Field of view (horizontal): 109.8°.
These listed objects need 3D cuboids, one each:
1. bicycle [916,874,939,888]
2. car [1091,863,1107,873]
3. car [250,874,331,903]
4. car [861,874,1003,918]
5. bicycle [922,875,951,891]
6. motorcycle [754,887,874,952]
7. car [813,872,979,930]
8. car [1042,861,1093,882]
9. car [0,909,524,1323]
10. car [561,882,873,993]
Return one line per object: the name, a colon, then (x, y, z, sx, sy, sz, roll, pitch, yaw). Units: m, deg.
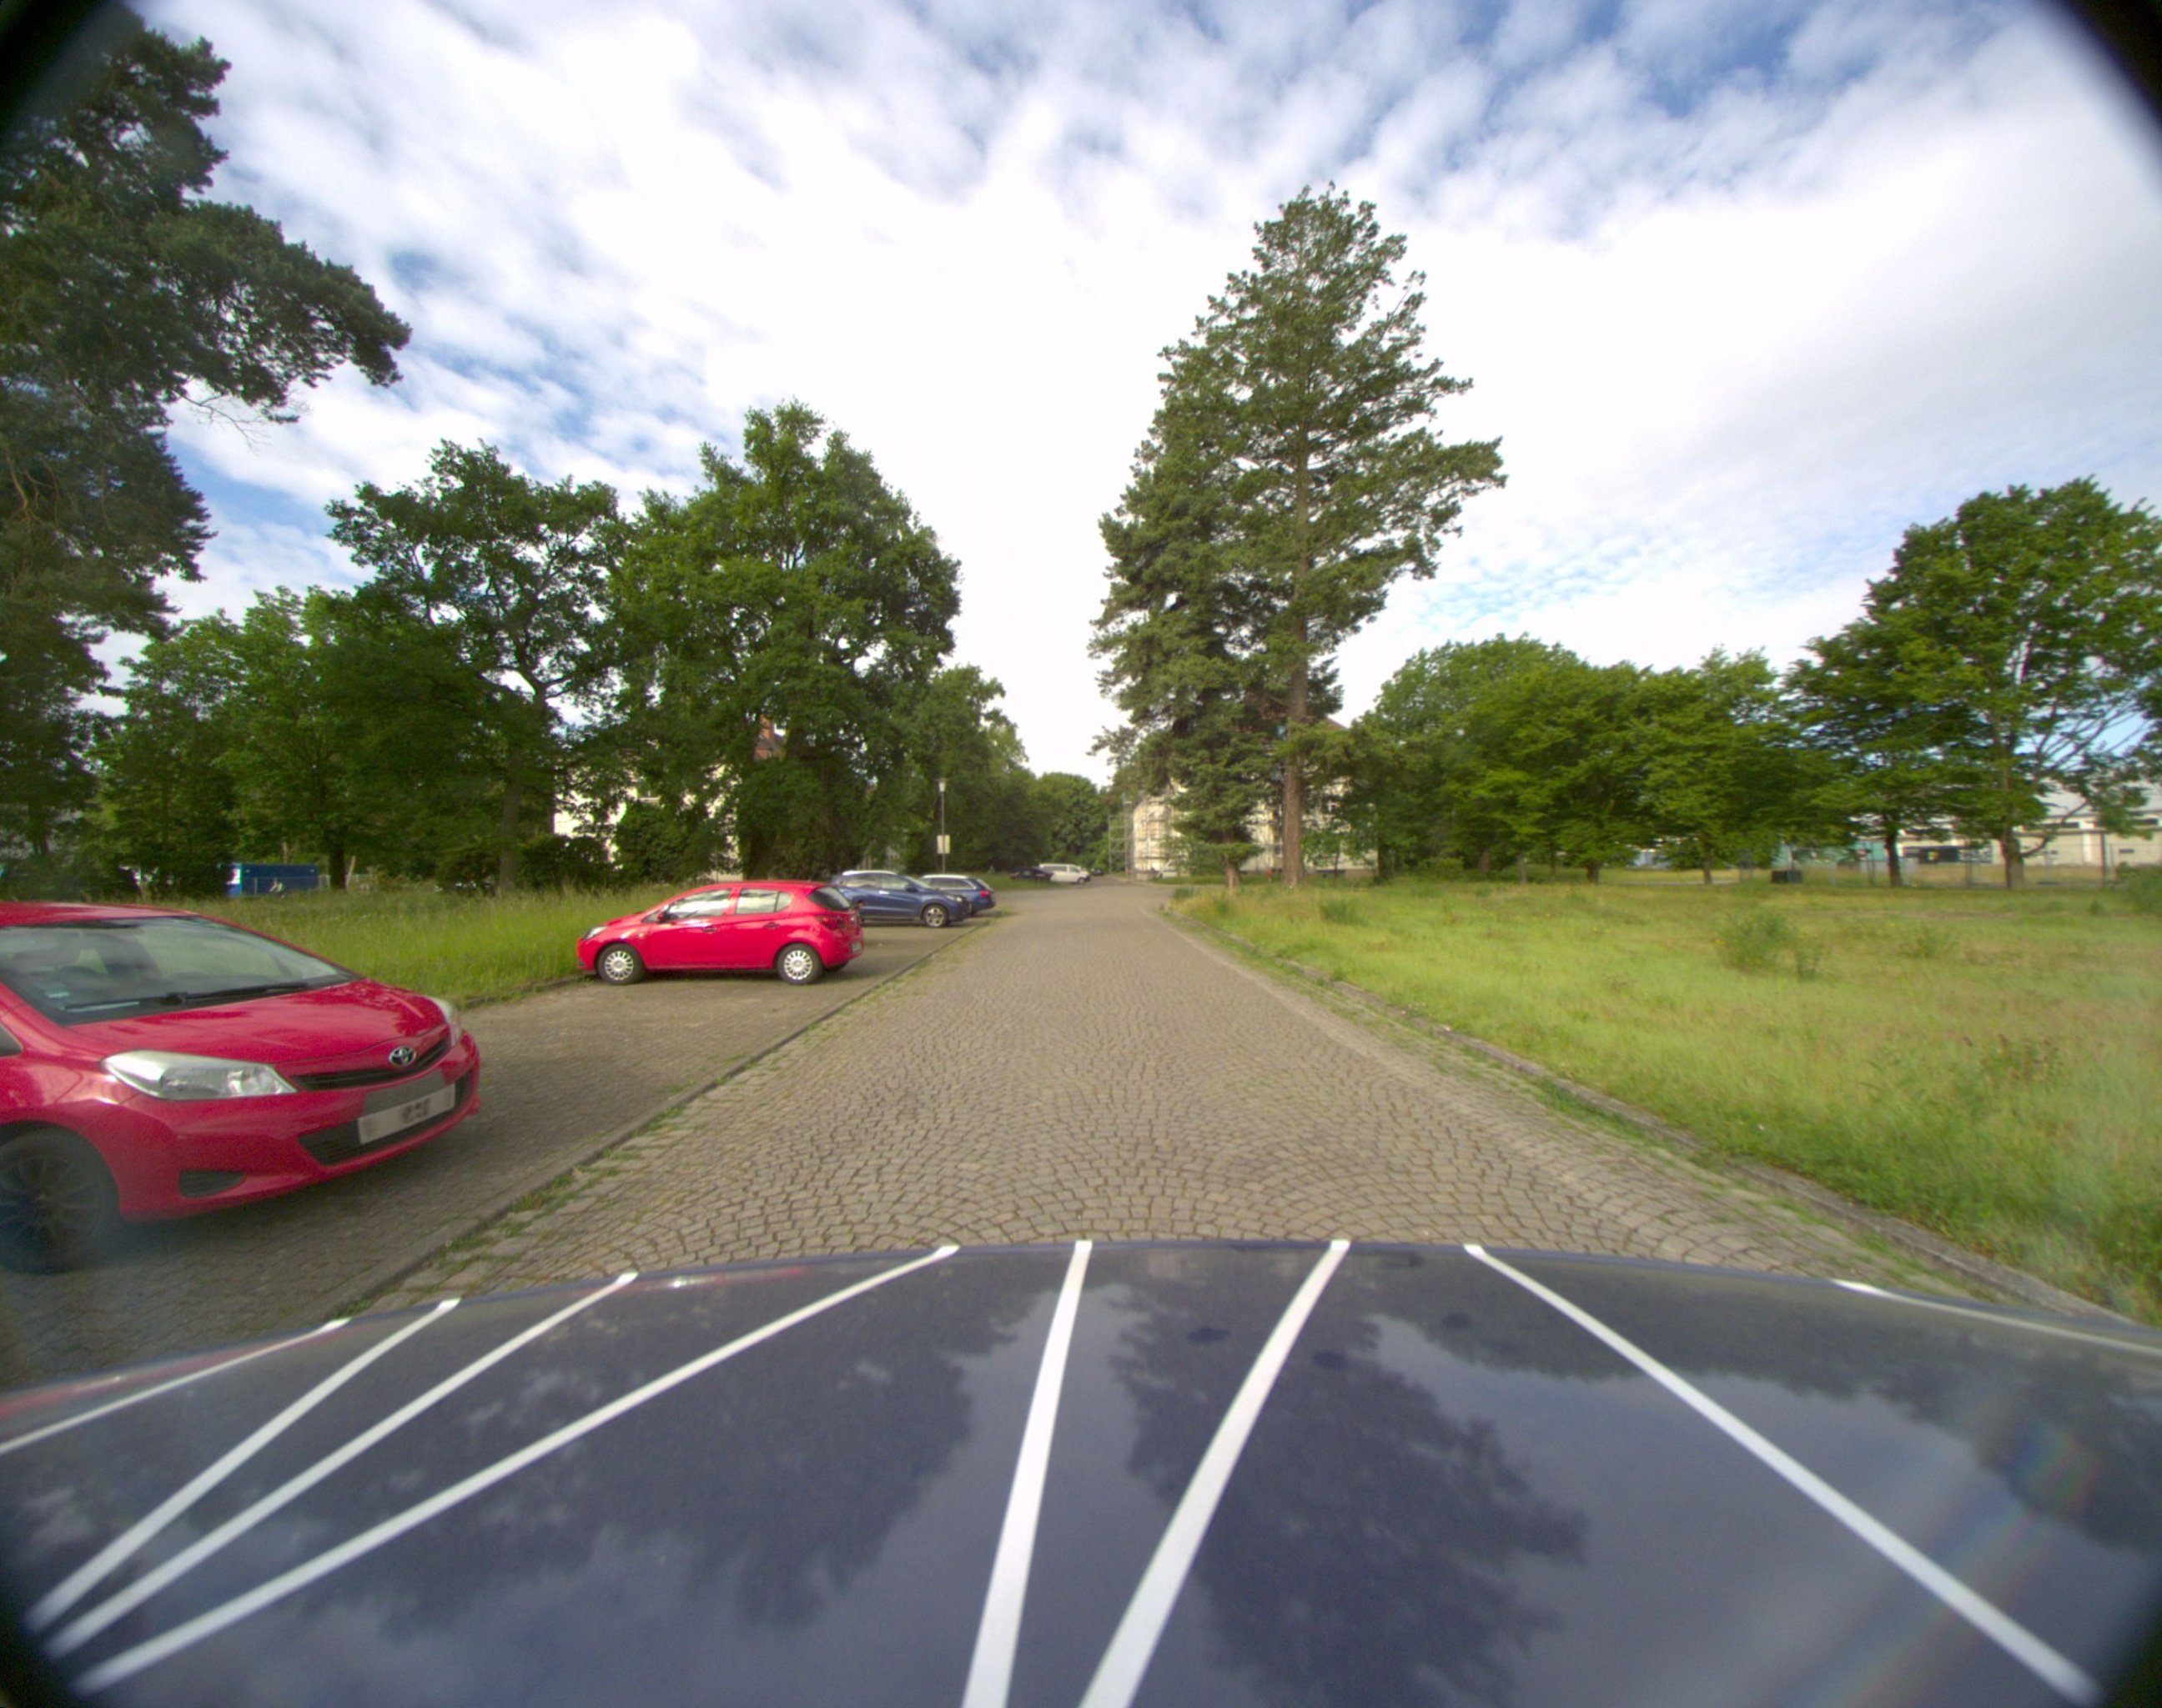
bicycle: (-12.380, 2.162, 61.142, 1.753, 1.082, 0.552, 0, 2, -22)
car: (3.362, 2.646, 141.788, 2.029, 1.915, 3.997, -1, -1, -11)
car: (-60.606, 2.615, 58.350, 1.784, 2.002, 4.084, -2, 0, 1)
car: (-5.108, 1.432, 26.515, 4.515, 1.456, 1.896, 0, -1, 3)
bicycle: (-10.460, 2.084, 54.891, 2.020, 1.082, 0.478, 0, 2, -22)
motorcycle: (-5.528, 1.341, 15.825, 2.271, 1.267, 0.605, 0, 0, -5)
car: (-5.183, 1.310, 21.735, 4.274, 1.564, 1.895, 0, -1, -1)
car: (-1.380, 1.704, 75.248, 4.916, 1.982, 2.000, -1, -1, -3)
car: (-5.468, 1.116, 3.839, 3.997, 1.509, 1.738, -1, -1, 0)
car: (-5.290, 1.188, 11.427, 3.849, 1.496, 1.738, 0, -1, -1)
